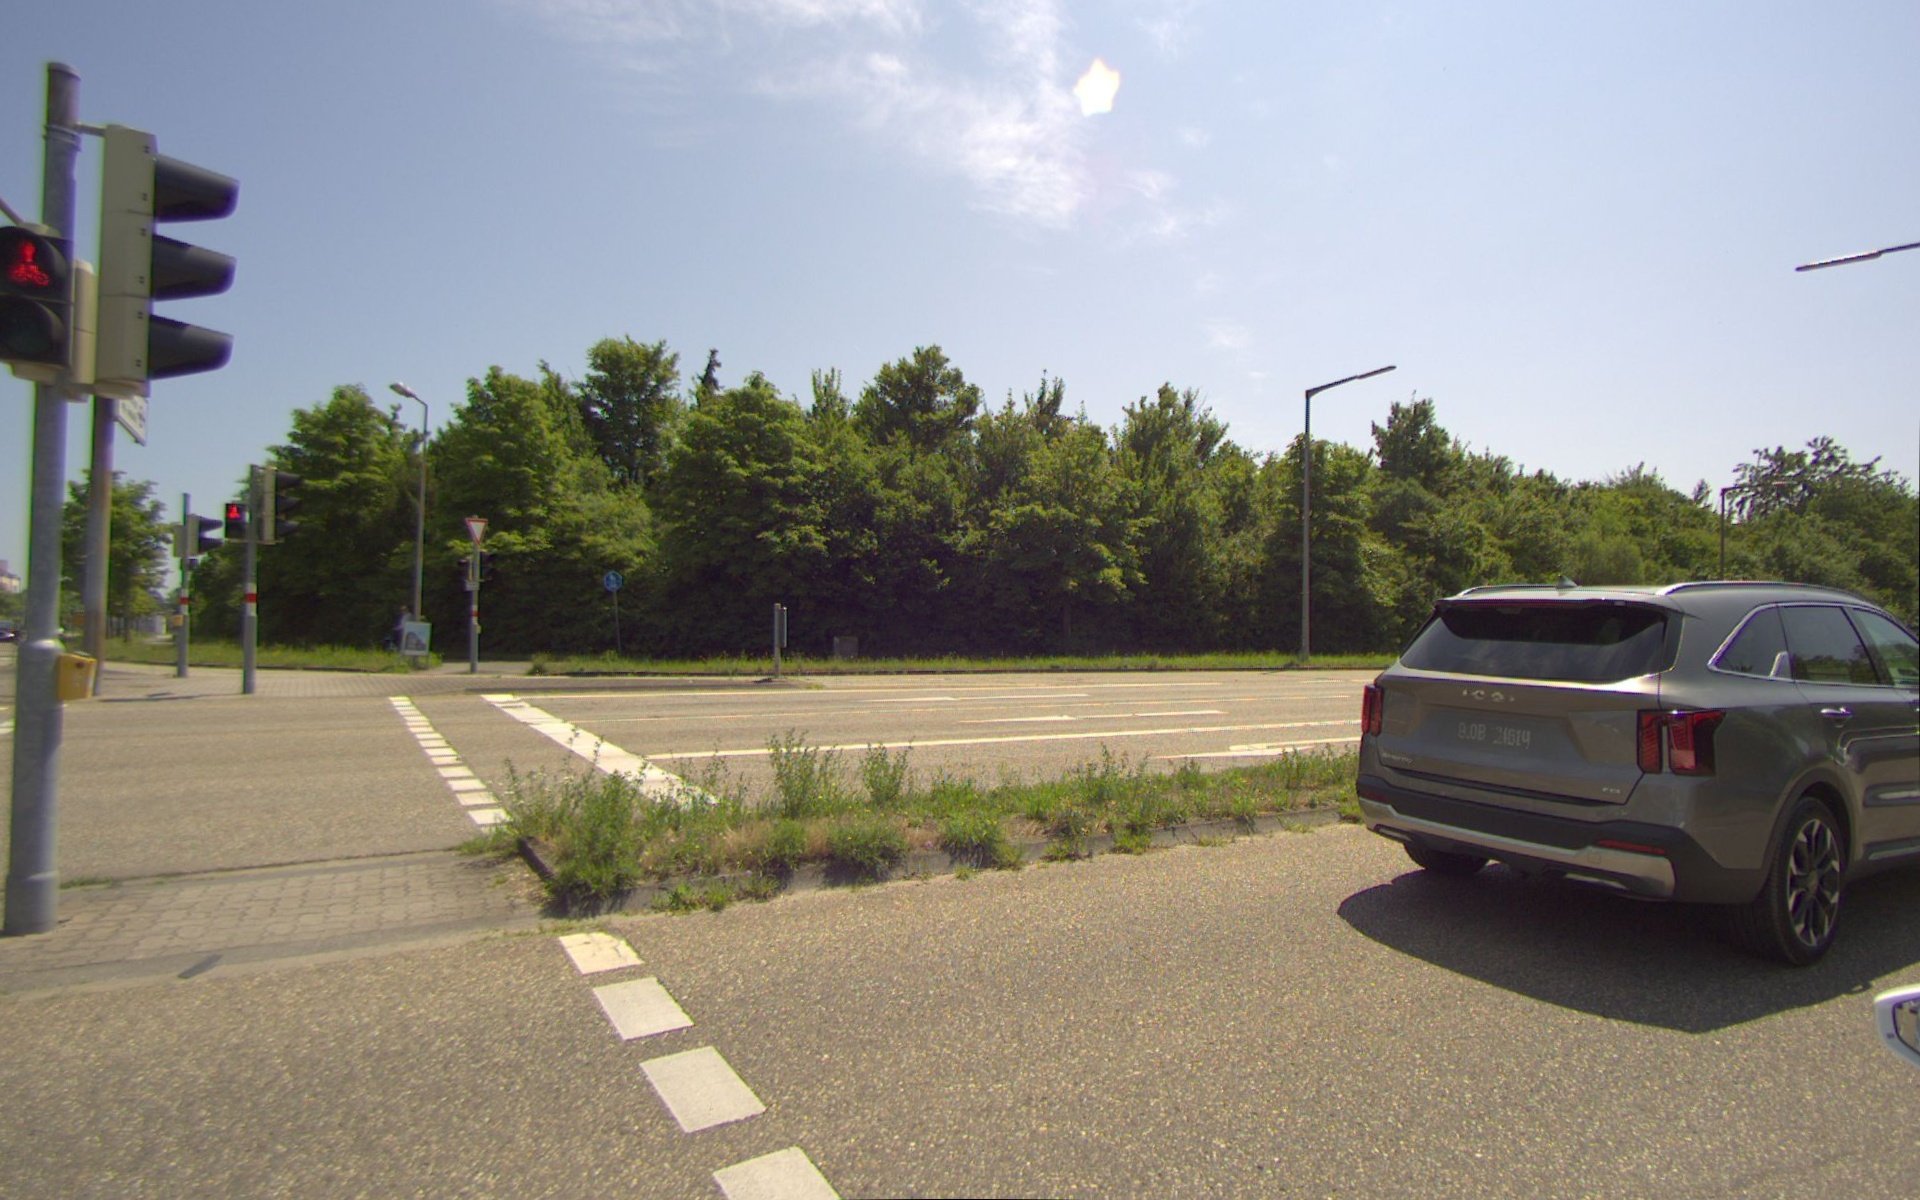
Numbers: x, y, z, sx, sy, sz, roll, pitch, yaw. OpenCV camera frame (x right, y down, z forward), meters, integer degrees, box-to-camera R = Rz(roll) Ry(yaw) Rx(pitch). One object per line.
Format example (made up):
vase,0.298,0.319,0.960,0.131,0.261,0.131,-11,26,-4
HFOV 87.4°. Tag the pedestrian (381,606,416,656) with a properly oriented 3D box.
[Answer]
pedestrian,-18.615,1.029,33.322,0.606,1.624,0.798,0,-1,25

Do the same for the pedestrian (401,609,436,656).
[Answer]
pedestrian,-17.732,1.052,32.904,0.606,1.523,0.798,0,-1,25

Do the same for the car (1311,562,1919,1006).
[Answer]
car,4.321,0.776,5.743,4.588,1.684,1.796,2,-1,-29

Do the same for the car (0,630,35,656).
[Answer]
car,-54.603,2.454,57.878,1.728,1.439,3.952,2,-2,-41
